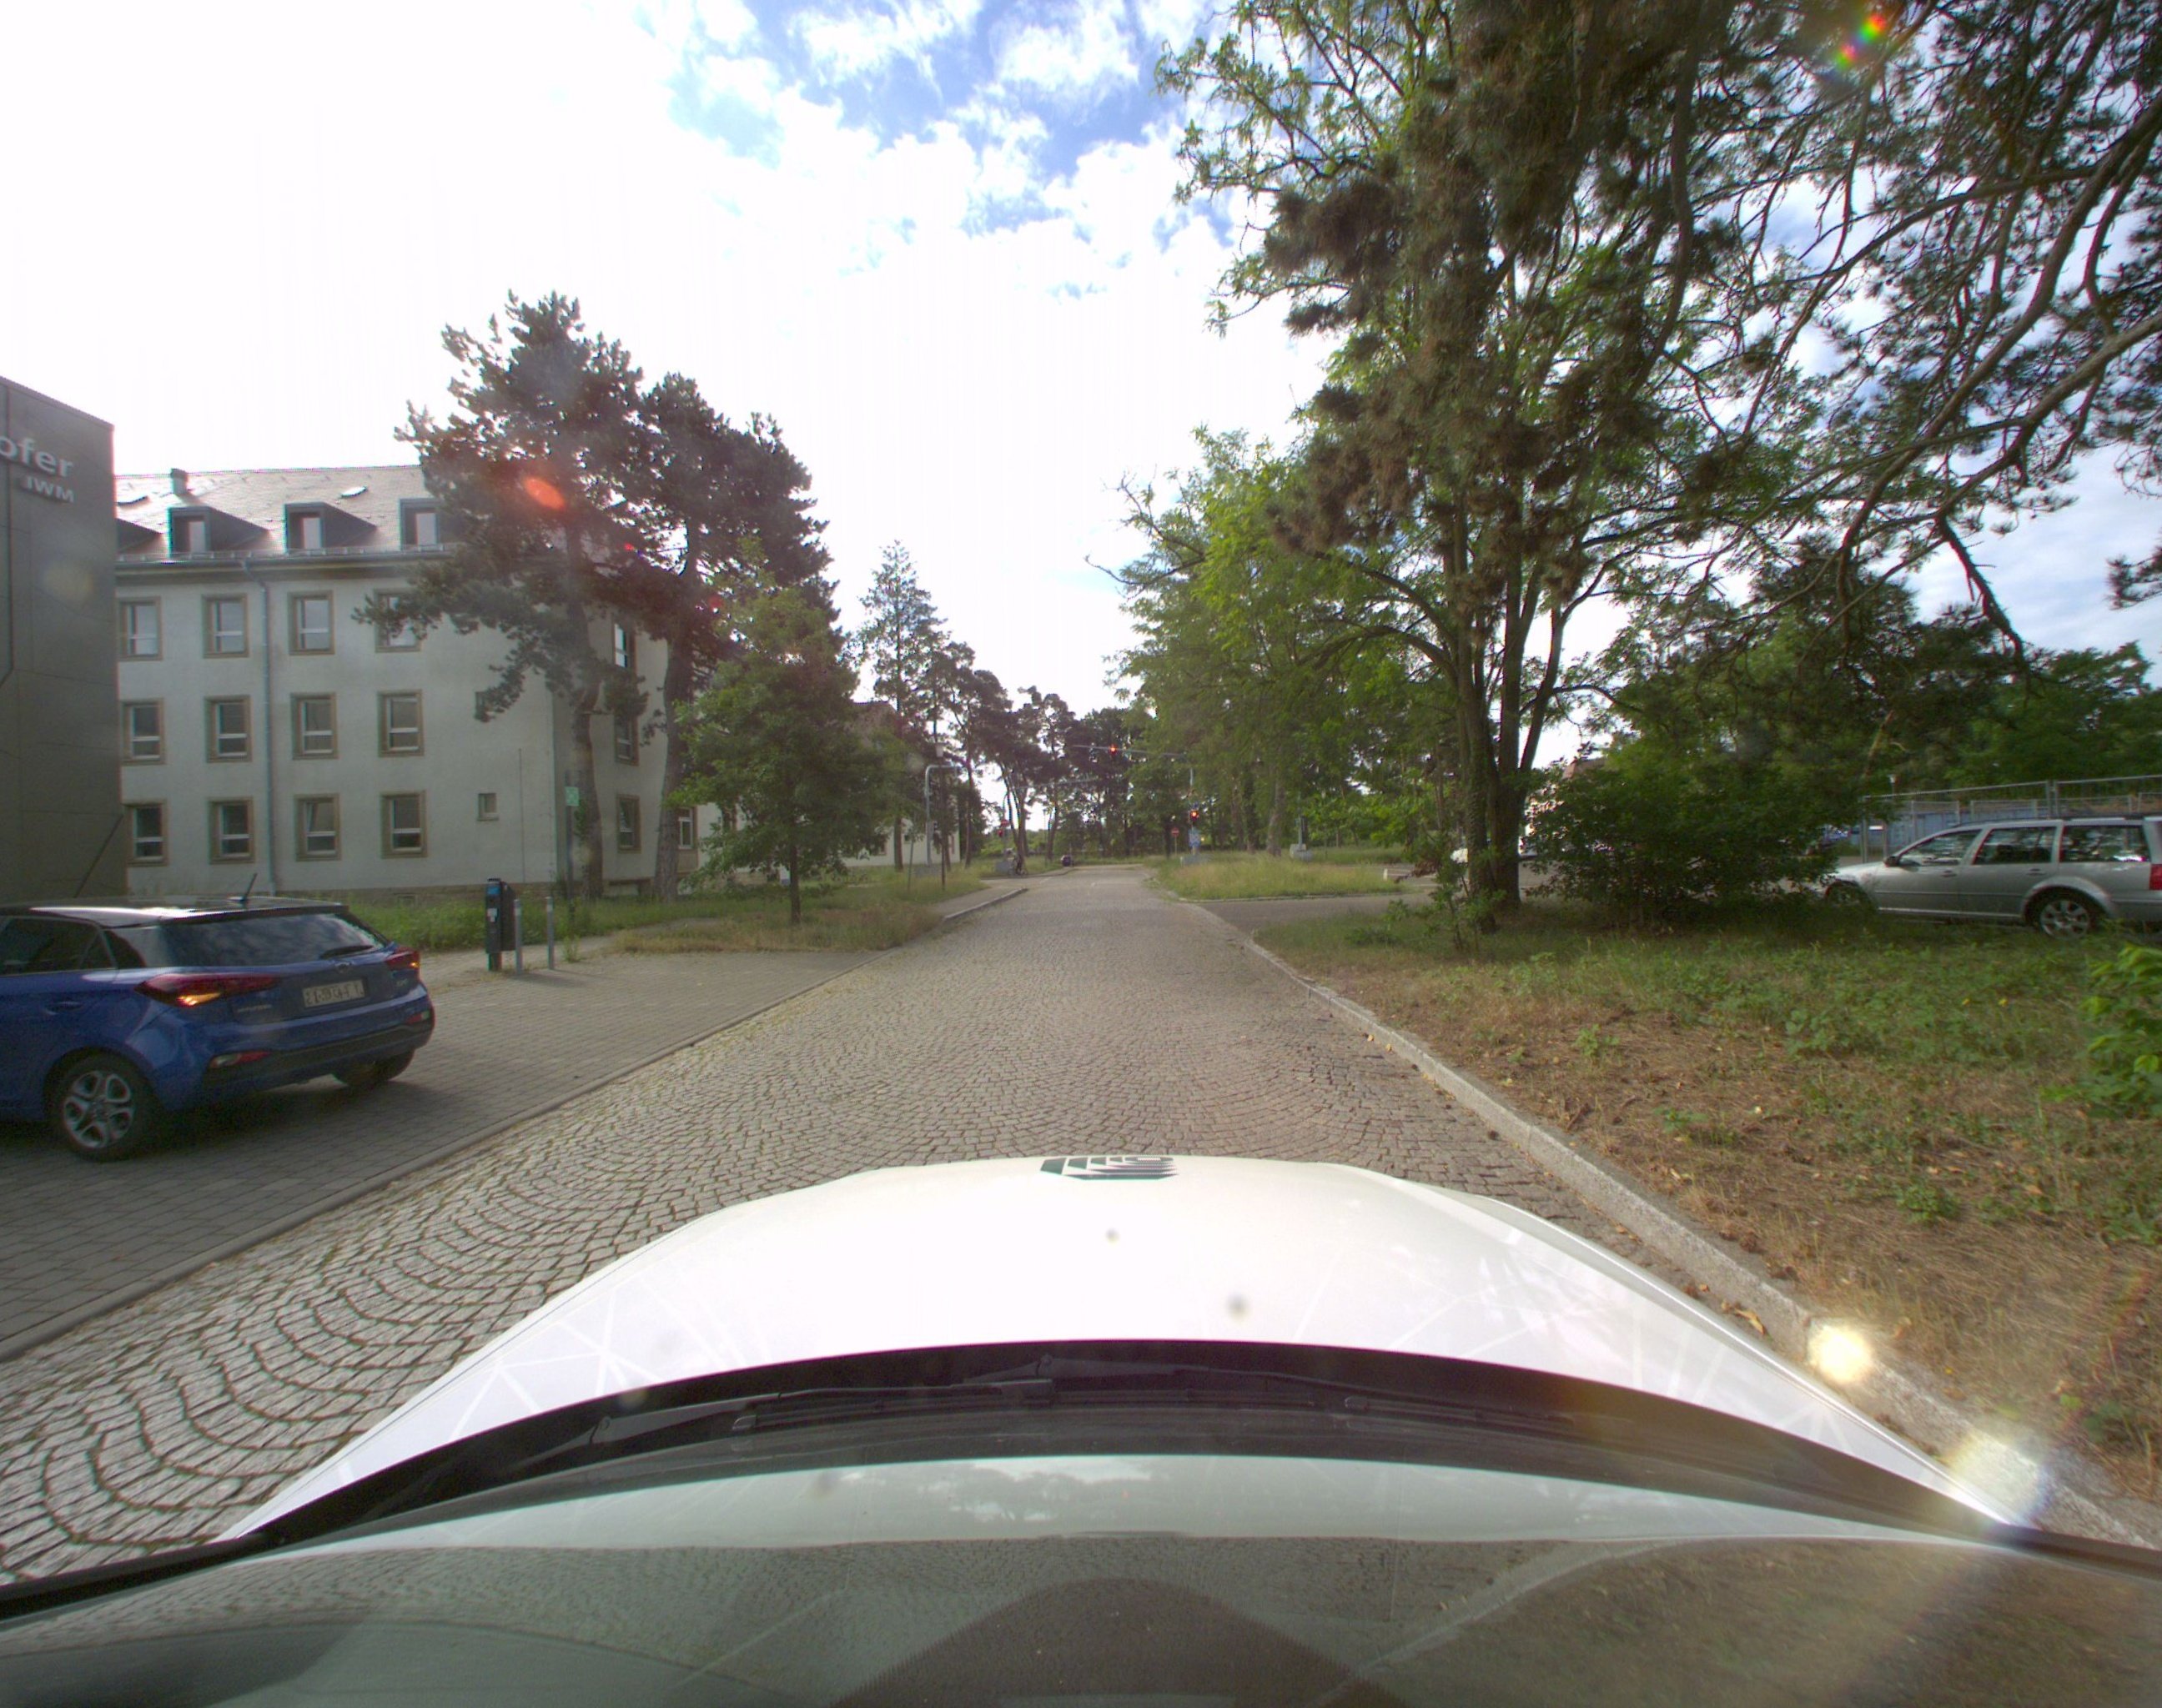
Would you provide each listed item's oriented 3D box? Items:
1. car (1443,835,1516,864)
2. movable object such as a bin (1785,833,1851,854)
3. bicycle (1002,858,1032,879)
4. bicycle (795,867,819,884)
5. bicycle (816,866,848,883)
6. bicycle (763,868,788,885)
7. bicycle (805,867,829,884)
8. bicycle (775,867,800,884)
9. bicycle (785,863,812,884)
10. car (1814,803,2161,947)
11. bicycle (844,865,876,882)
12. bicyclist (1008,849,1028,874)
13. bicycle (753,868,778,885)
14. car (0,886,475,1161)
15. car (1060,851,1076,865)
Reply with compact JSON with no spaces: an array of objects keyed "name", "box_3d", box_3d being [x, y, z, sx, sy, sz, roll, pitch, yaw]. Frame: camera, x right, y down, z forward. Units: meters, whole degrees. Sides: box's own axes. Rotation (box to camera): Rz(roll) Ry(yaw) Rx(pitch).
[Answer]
[{"name":"car","box_3d":[23.103,-0.251,47.415,1.988,1.481,4.422,-2,-1,-2]},{"name":"movable object such as a bin","box_3d":[31.492,-0.442,34.851,1.179,0.825,1.957,-2,0,6]},{"name":"bicycle","box_3d":[-4.434,0.998,56.623,0.927,1.387,2.200,-2,0,34]},{"name":"bicycle","box_3d":[-18.728,1.466,55.748,0.733,1.076,2.274,-2,0,2]},{"name":"bicycle","box_3d":[-16.647,1.377,54.527,1.848,1.076,0.739,-2,0,3]},{"name":"bicycle","box_3d":[-20.915,1.499,55.772,0.733,1.076,2.274,-2,0,2]},{"name":"bicycle","box_3d":[-18.086,1.437,55.813,0.733,1.076,2.274,-2,0,2]},{"name":"bicycle","box_3d":[-20.253,1.502,56.250,0.733,1.076,2.274,-2,0,2]},{"name":"bicycle","box_3d":[-19.462,1.343,56.122,0.733,1.385,2.713,-2,0,2]},{"name":"car","box_3d":[11.614,0.217,9.994,1.640,1.427,4.073,1,0,1]},{"name":"bicycle","box_3d":[-14.764,1.322,54.521,1.848,1.076,0.832,-2,0,3]},{"name":"bicyclist","box_3d":[-4.408,0.540,56.684,0.944,1.697,0.929,-3,-1,33]},{"name":"bicycle","box_3d":[-21.643,1.521,55.861,0.733,1.076,2.274,-2,0,2]},{"name":"car","box_3d":[-6.765,1.015,5.670,3.748,1.478,1.854,-1,0,4]},{"name":"car","box_3d":[-1.752,0.565,111.586,2.048,1.846,4.001,-2,0,1]}]
